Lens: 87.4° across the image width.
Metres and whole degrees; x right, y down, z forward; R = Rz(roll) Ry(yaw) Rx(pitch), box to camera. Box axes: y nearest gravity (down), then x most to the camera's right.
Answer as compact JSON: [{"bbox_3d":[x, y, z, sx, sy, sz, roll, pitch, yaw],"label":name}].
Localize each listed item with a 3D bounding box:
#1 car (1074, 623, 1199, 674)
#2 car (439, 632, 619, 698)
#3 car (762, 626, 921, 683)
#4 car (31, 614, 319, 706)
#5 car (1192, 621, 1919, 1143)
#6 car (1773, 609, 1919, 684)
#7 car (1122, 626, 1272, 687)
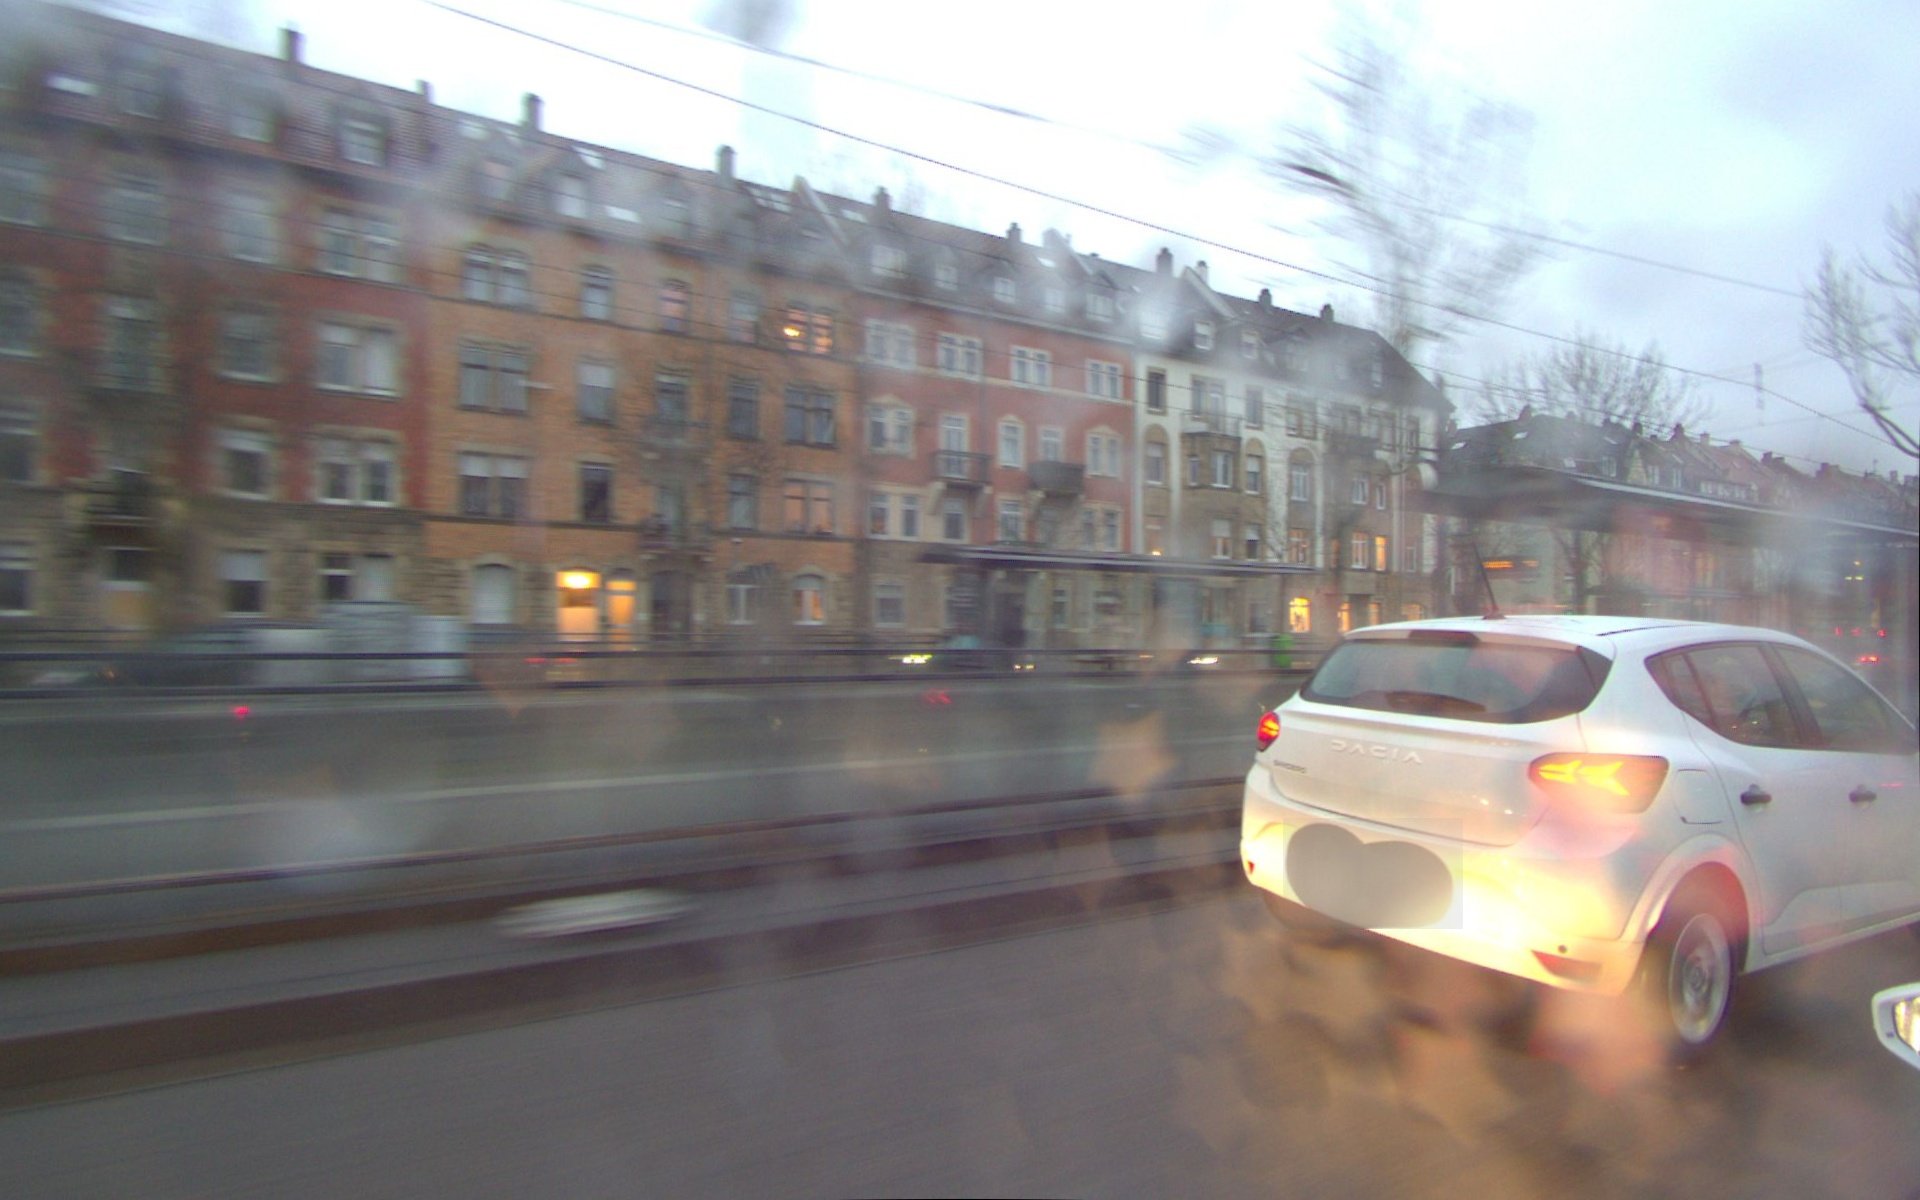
[{"bbox_3d":[5.560,1.495,31.582,3.724,1.509,1.646,1,-2,-32],"label":"car"},{"bbox_3d":[-8.692,1.262,20.278,3.158,1.224,1.528,1,-2,-32],"label":"car"},{"bbox_3d":[-3.156,1.429,27.041,3.954,1.415,1.652,1,-2,-31],"label":"car"},{"bbox_3d":[-11.350,0.851,14.801,3.158,1.223,1.528,1,-3,-32],"label":"car"},{"bbox_3d":[3.134,0.860,4.570,3.948,1.506,1.620,0,-2,-27],"label":"car"},{"bbox_3d":[23.646,1.226,26.675,3.955,1.847,1.983,1,-3,-32],"label":"car"},{"bbox_3d":[6.812,1.574,28.848,3.954,1.637,1.984,1,-2,-31],"label":"car"}]
